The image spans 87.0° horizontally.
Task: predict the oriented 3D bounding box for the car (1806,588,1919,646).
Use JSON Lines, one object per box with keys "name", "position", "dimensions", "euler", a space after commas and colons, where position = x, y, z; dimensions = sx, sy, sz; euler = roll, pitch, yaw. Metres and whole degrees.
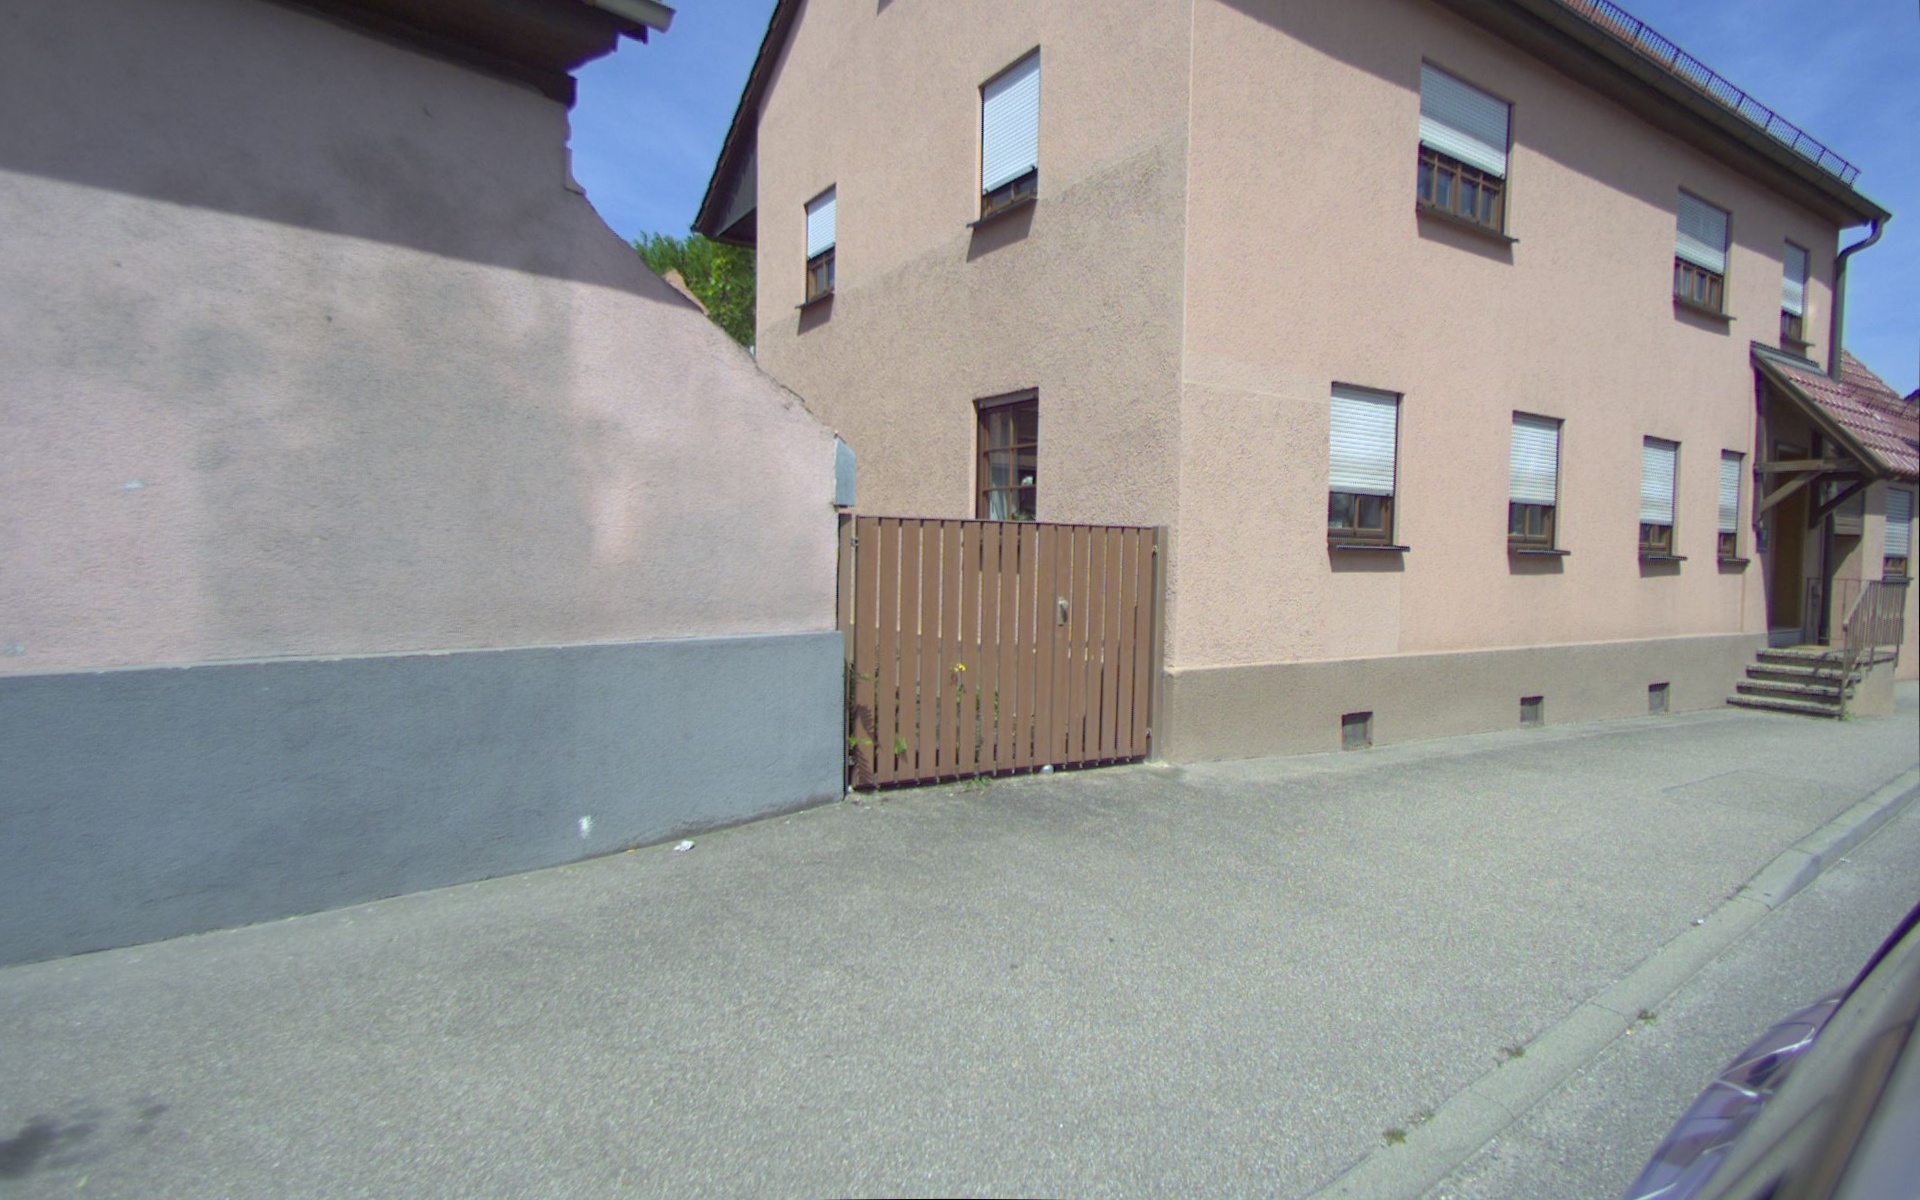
{"name": "car", "position": [26.609, 0.481, 28.690], "dimensions": [1.858, 1.506, 3.810], "euler": [0, 3, -42]}
